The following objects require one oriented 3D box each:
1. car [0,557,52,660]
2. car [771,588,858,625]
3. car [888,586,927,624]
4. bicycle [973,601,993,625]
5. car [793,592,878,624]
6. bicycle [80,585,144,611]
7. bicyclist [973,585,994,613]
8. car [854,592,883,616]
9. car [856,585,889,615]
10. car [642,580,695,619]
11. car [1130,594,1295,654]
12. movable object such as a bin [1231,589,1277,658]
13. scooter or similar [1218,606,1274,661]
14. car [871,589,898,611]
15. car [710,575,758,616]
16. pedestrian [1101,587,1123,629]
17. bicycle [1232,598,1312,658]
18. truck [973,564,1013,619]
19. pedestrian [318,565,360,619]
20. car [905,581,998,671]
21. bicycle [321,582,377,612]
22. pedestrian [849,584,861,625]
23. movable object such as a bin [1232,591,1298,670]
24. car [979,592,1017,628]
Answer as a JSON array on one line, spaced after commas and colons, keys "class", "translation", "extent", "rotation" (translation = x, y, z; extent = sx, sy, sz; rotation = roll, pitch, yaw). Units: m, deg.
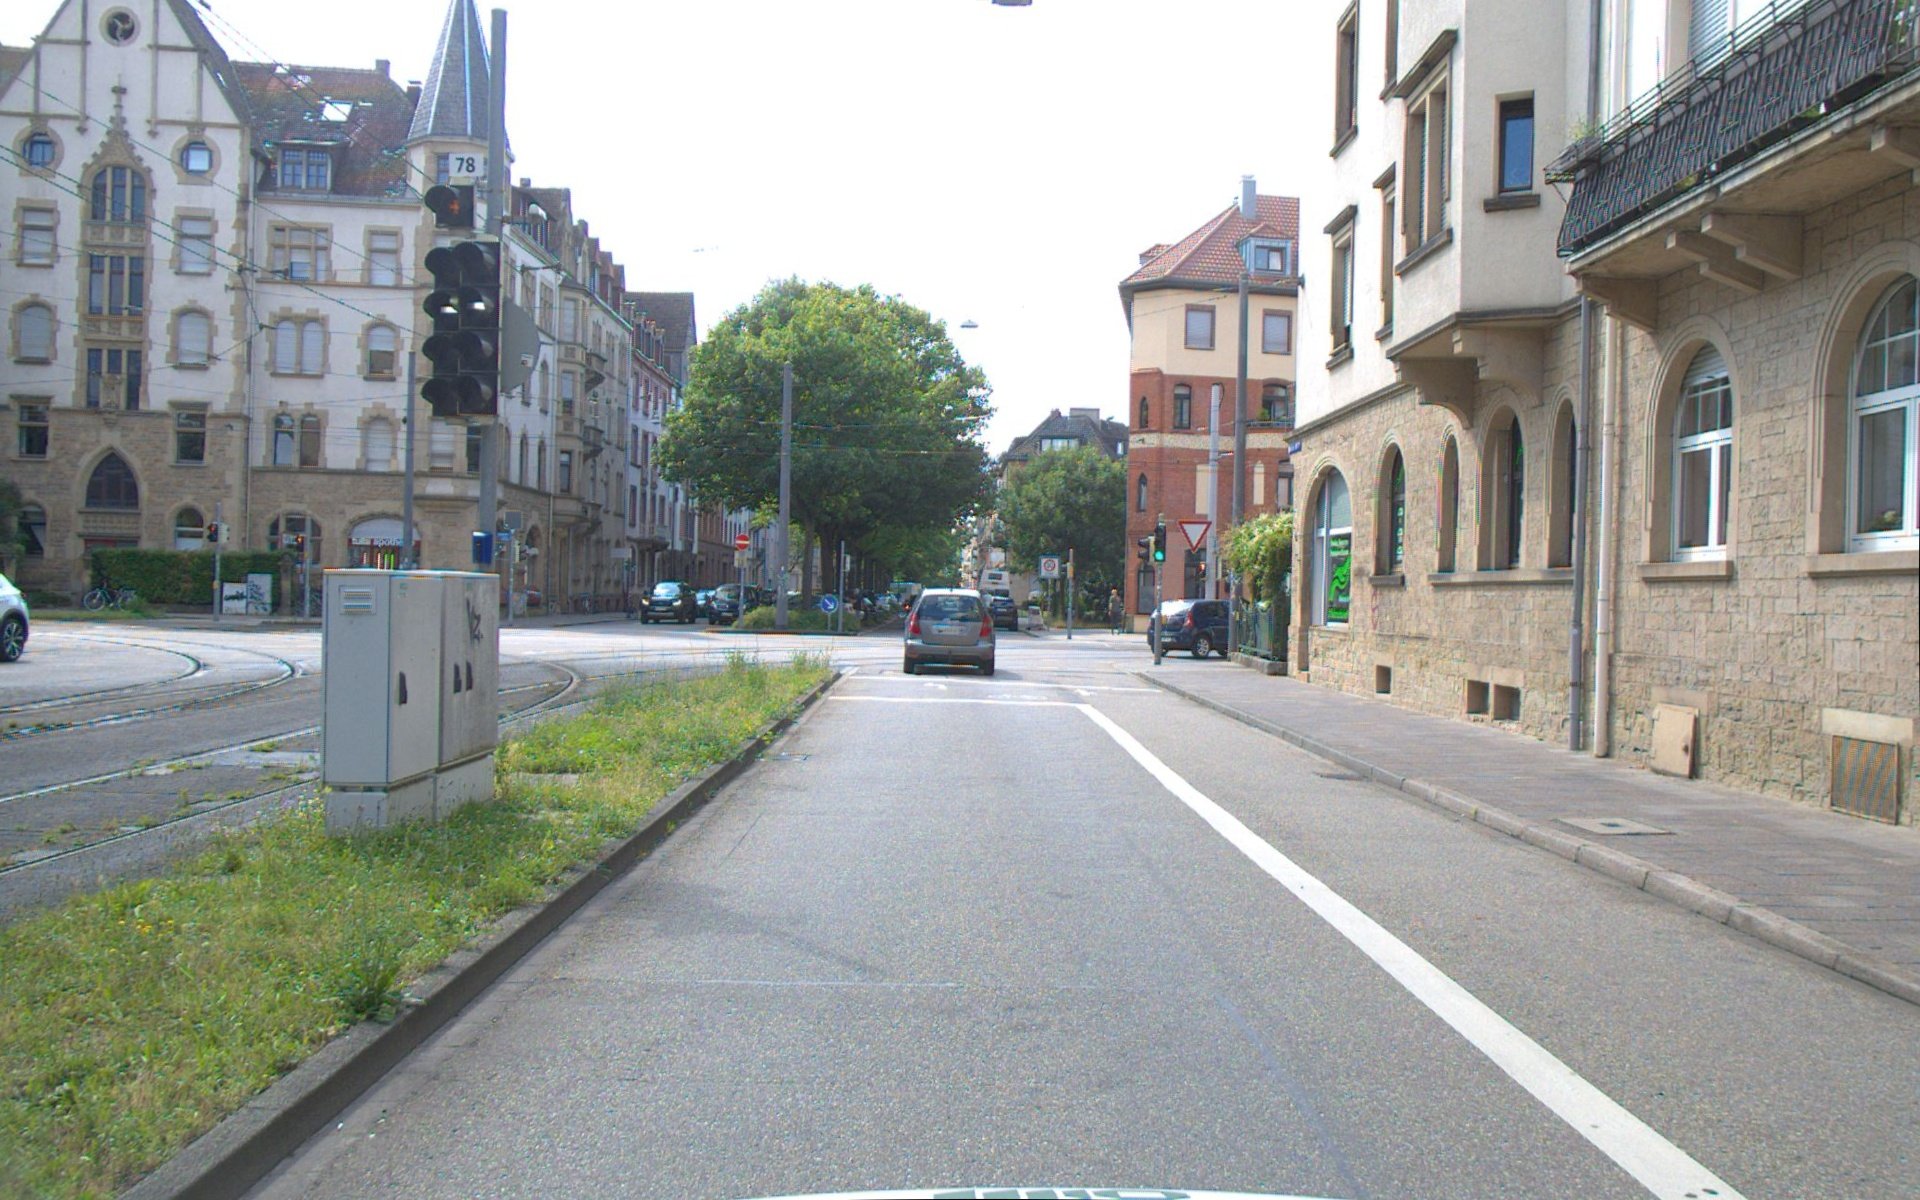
[{"class": "car", "translation": [-15.429, 0.111, 24.181], "extent": [1.893, 1.561, 4.258], "rotation": [1, 0, 1]}, {"class": "car", "translation": [-6.473, 0.271, 73.231], "extent": [1.955, 1.521, 3.943], "rotation": [2, 0, -39]}, {"class": "car", "translation": [-2.513, 0.239, 79.903], "extent": [1.687, 1.736, 3.677], "rotation": [1, 0, 0]}, {"class": "bicycle", "translation": [0.972, 0.544, 68.693], "extent": [0.733, 0.975, 2.300], "rotation": [1, 0, 3]}, {"class": "car", "translation": [-5.737, 0.353, 75.856], "extent": [1.955, 1.362, 3.943], "rotation": [2, 0, -39]}, {"class": "bicycle", "translation": [-29.496, -0.079, 57.546], "extent": [1.881, 0.863, 0.469], "rotation": [1, 0, -11]}, {"class": "bicyclist", "translation": [0.976, -0.043, 68.662], "extent": [0.819, 1.101, 1.401], "rotation": [1, 0, 3]}, {"class": "car", "translation": [-6.174, 0.244, 111.350], "extent": [1.716, 1.543, 3.499], "rotation": [2, 0, 0]}, {"class": "car", "translation": [-5.165, -0.011, 97.599], "extent": [1.716, 1.661, 3.499], "rotation": [2, 0, 0]}, {"class": "car", "translation": [-12.817, -0.010, 72.856], "extent": [1.955, 1.646, 3.995], "rotation": [1, 0, -6]}, {"class": "car", "translation": [6.701, 0.637, 43.928], "extent": [3.941, 1.467, 1.968], "rotation": [1, 0, -28]}, {"class": "movable object such as a bin", "translation": [6.507, 0.521, 36.649], "extent": [0.701, 1.497, 0.980], "rotation": [1, 0, -9]}, {"class": "scooter or similar", "translation": [6.547, 0.771, 37.919], "extent": [1.171, 1.238, 0.462], "rotation": [1, 0, -7]}, {"class": "car", "translation": [-5.359, 0.001, 118.232], "extent": [1.716, 1.543, 3.499], "rotation": [2, 0, 0]}, {"class": "car", "translation": [-10.139, -0.206, 74.537], "extent": [1.955, 1.758, 3.995], "rotation": [1, 0, -6]}, {"class": "pedestrian", "translation": [6.258, 0.340, 68.189], "extent": [0.850, 1.685, 0.737], "rotation": [2, 0, 4]}, {"class": "bicycle", "translation": [7.081, 0.634, 37.525], "extent": [1.795, 1.352, 0.276], "rotation": [1, 0, -11]}, {"class": "truck", "translation": [1.916, -0.463, 94.168], "extent": [2.078, 3.022, 4.002], "rotation": [1, 0, 3]}, {"class": "pedestrian", "translation": [-20.406, -0.261, 54.357], "extent": [1.016, 1.752, 0.763], "rotation": [2, 0, -45]}, {"class": "car", "translation": [-0.145, 0.467, 32.253], "extent": [1.687, 1.633, 3.677], "rotation": [1, 0, 0]}, {"class": "bicycle", "translation": [-23.336, -0.118, 63.231], "extent": [1.881, 1.100, 0.776], "rotation": [1, 0, -11]}, {"class": "pedestrian", "translation": [-4.513, 0.176, 71.125], "extent": [0.483, 1.755, 0.653], "rotation": [2, 0, -5]}, {"class": "movable object such as a bin", "translation": [6.286, 0.607, 34.218], "extent": [1.028, 1.566, 2.100], "rotation": [1, 0, 2]}, {"class": "car", "translation": [1.900, 0.463, 81.197], "extent": [1.715, 1.661, 3.501], "rotation": [2, 0, 3]}]
